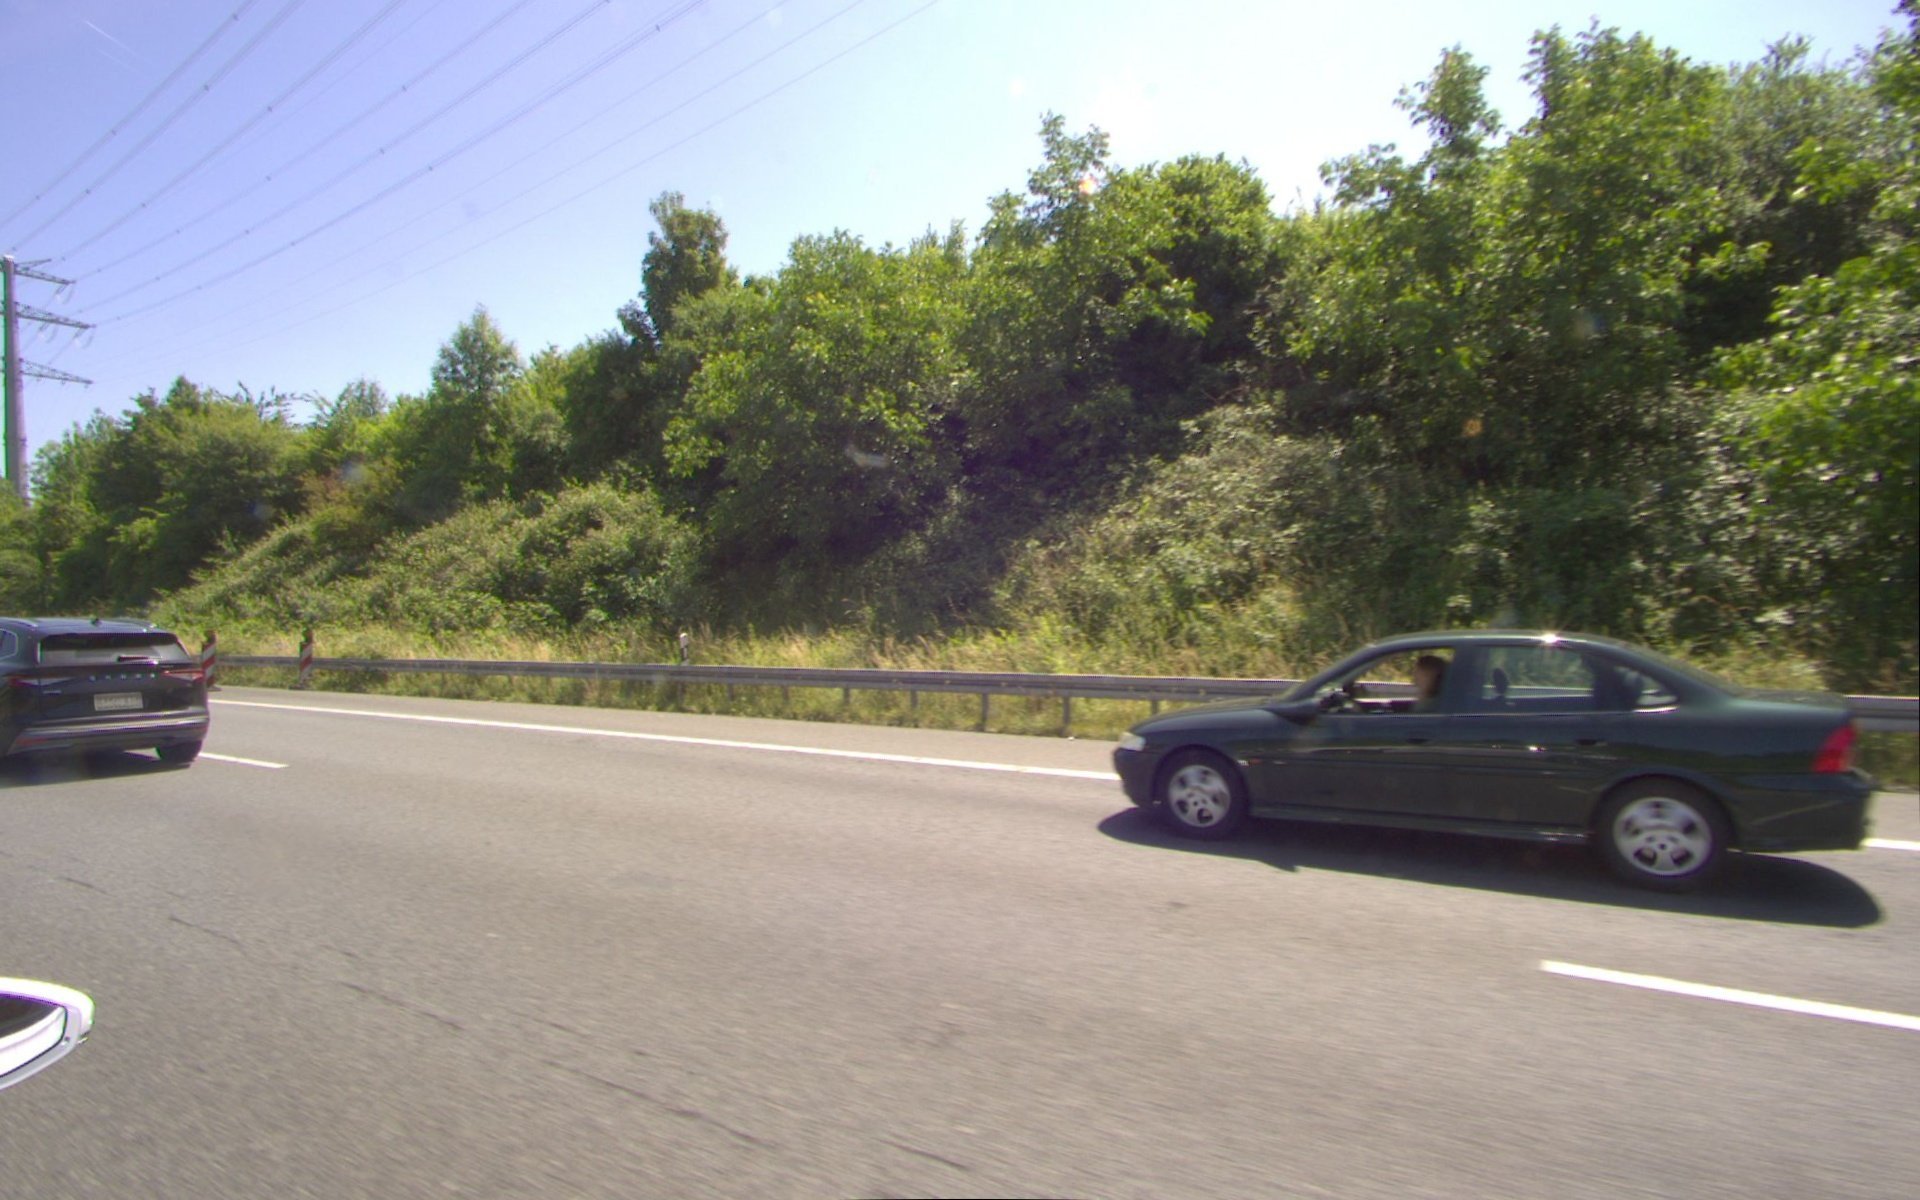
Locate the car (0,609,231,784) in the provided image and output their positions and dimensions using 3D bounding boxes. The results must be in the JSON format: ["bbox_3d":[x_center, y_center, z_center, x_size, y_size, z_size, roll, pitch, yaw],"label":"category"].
[{"bbox_3d":[-10.240,0.953,11.298,4.368,1.635,1.824,-1,-1,33],"label":"car"}]

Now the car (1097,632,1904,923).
[{"bbox_3d":[3.216,0.922,6.709,4.242,1.395,1.731,-1,-2,33],"label":"car"}]
